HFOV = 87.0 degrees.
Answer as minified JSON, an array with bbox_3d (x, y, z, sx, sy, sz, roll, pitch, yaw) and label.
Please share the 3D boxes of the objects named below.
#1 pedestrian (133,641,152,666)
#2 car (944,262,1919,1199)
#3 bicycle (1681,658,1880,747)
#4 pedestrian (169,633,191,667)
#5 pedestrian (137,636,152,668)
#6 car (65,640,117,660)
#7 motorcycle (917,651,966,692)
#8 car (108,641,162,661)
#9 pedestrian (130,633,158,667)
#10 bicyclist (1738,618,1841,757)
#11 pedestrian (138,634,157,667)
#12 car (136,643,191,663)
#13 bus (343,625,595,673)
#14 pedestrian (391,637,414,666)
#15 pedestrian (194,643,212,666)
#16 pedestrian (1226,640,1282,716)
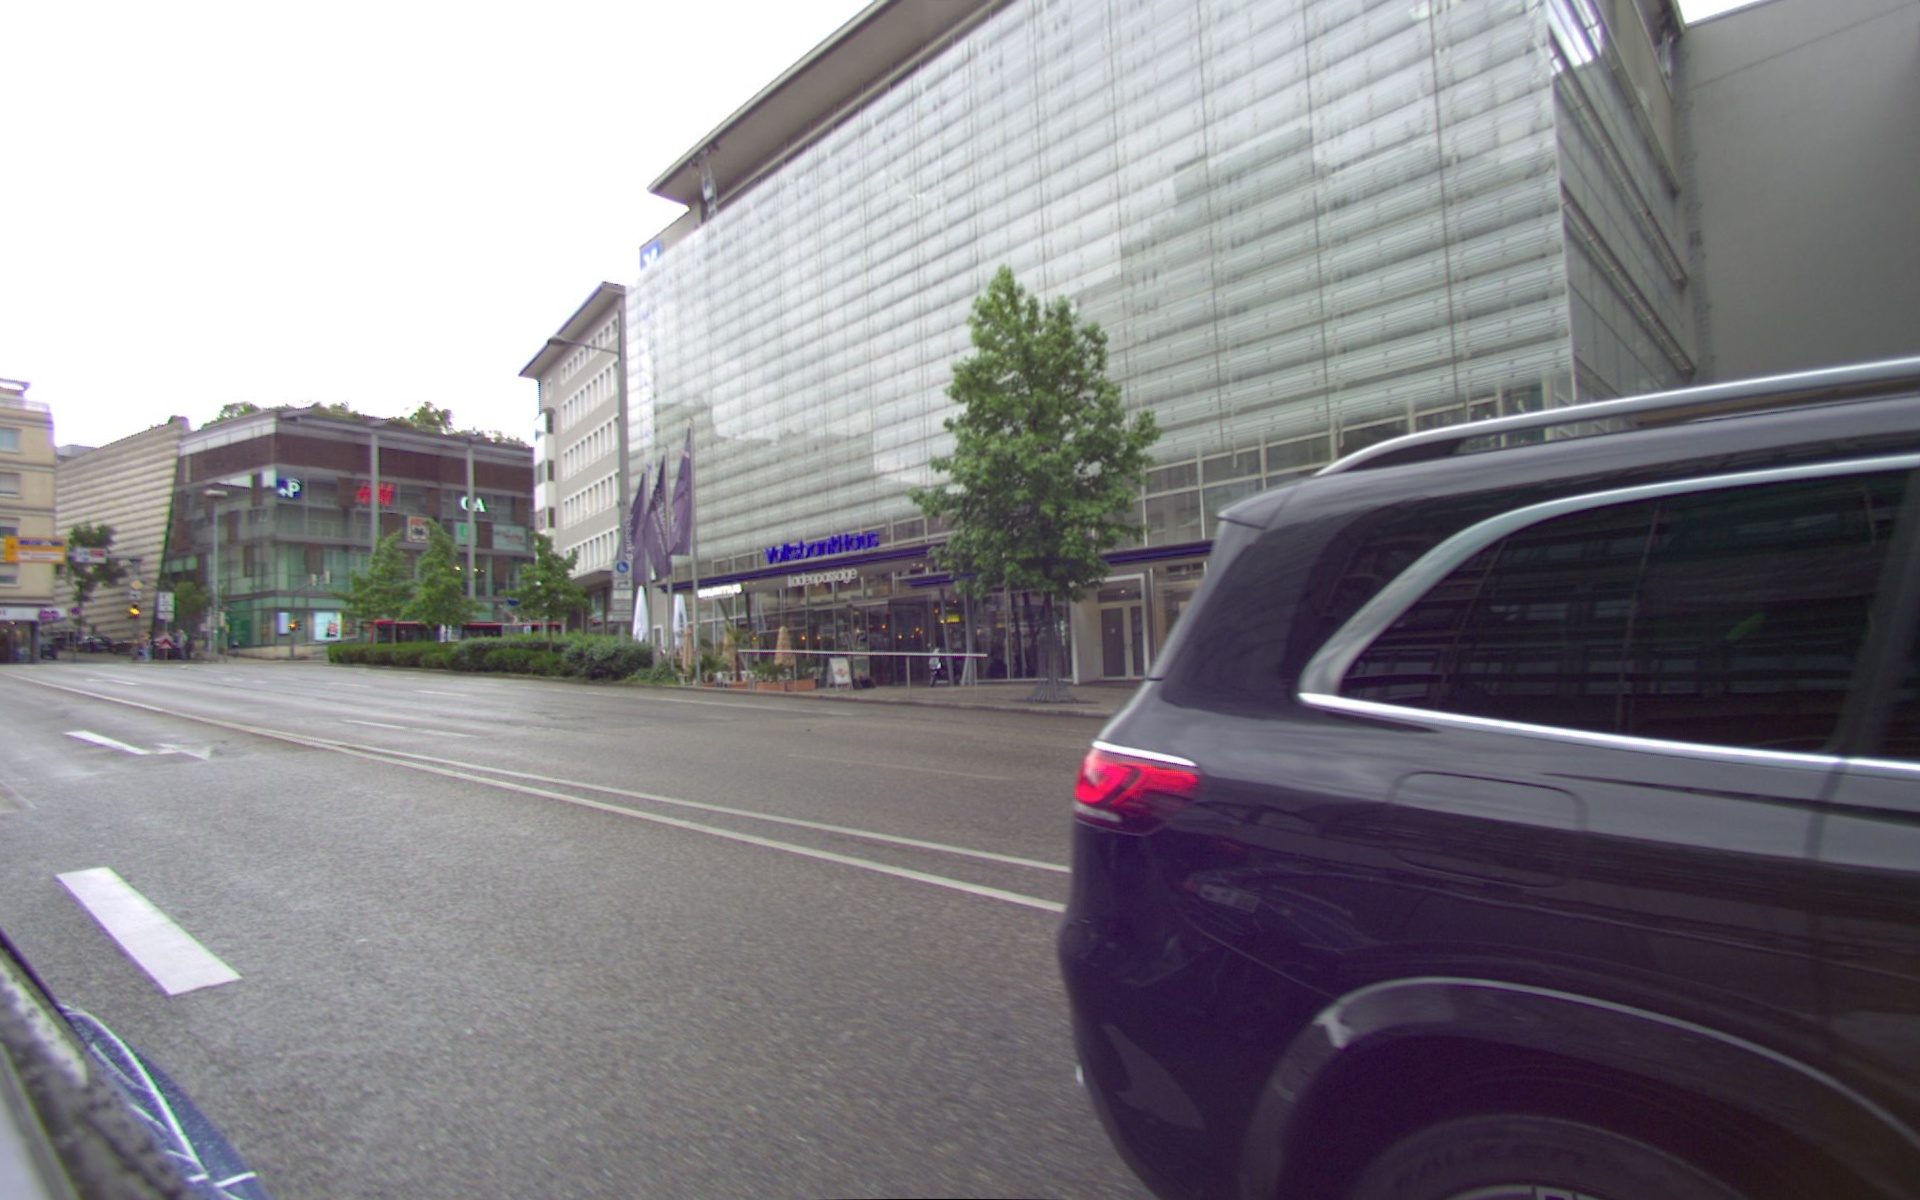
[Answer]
[{"bbox_3d":[-43.611,2.846,53.980,0.630,1.350,0.581,-2,-4,31],"label":"pedestrian"},{"bbox_3d":[2.475,0.503,1.222,4.789,1.831,2.066,-2,-1,40],"label":"car"},{"bbox_3d":[11.322,1.390,14.074,2.064,1.108,0.673,-1,-3,33],"label":"bicycle"},{"bbox_3d":[-41.142,2.656,53.406,0.829,1.792,0.611,-2,-4,31],"label":"pedestrian"},{"bbox_3d":[-43.198,2.756,53.595,0.571,1.681,0.494,-4,-5,44],"label":"pedestrian"},{"bbox_3d":[-73.851,4.216,86.014,4.359,1.558,1.881,-1,-1,27],"label":"car"},{"bbox_3d":[-0.628,2.392,34.058,1.529,1.305,0.770,2,-3,-44],"label":"motorcycle"},{"bbox_3d":[-67.445,4.132,82.686,4.359,1.558,1.881,-1,-1,27],"label":"car"},{"bbox_3d":[-44.471,2.724,55.135,1.009,1.801,0.844,-2,-4,31],"label":"pedestrian"},{"bbox_3d":[11.447,1.182,13.997,0.987,1.844,0.663,-1,-3,33],"label":"bicyclist"},{"bbox_3d":[-42.685,2.636,53.176,0.629,1.702,0.784,3,-4,-44],"label":"pedestrian"},{"bbox_3d":[-62.746,4.174,79.711,4.276,1.558,1.788,-1,-3,27],"label":"car"},{"bbox_3d":[-37.466,3.883,78.826,2.926,3.346,18.238,-3,-5,38],"label":"bus"},{"bbox_3d":[-34.818,3.231,63.216,1.022,1.789,0.791,-2,-4,31],"label":"pedestrian"},{"bbox_3d":[-60.856,4.400,81.345,1.044,1.775,0.689,-3,-5,27],"label":"pedestrian"},{"bbox_3d":[5.809,1.527,19.997,0.644,1.468,0.845,3,-4,-43],"label":"pedestrian"}]
